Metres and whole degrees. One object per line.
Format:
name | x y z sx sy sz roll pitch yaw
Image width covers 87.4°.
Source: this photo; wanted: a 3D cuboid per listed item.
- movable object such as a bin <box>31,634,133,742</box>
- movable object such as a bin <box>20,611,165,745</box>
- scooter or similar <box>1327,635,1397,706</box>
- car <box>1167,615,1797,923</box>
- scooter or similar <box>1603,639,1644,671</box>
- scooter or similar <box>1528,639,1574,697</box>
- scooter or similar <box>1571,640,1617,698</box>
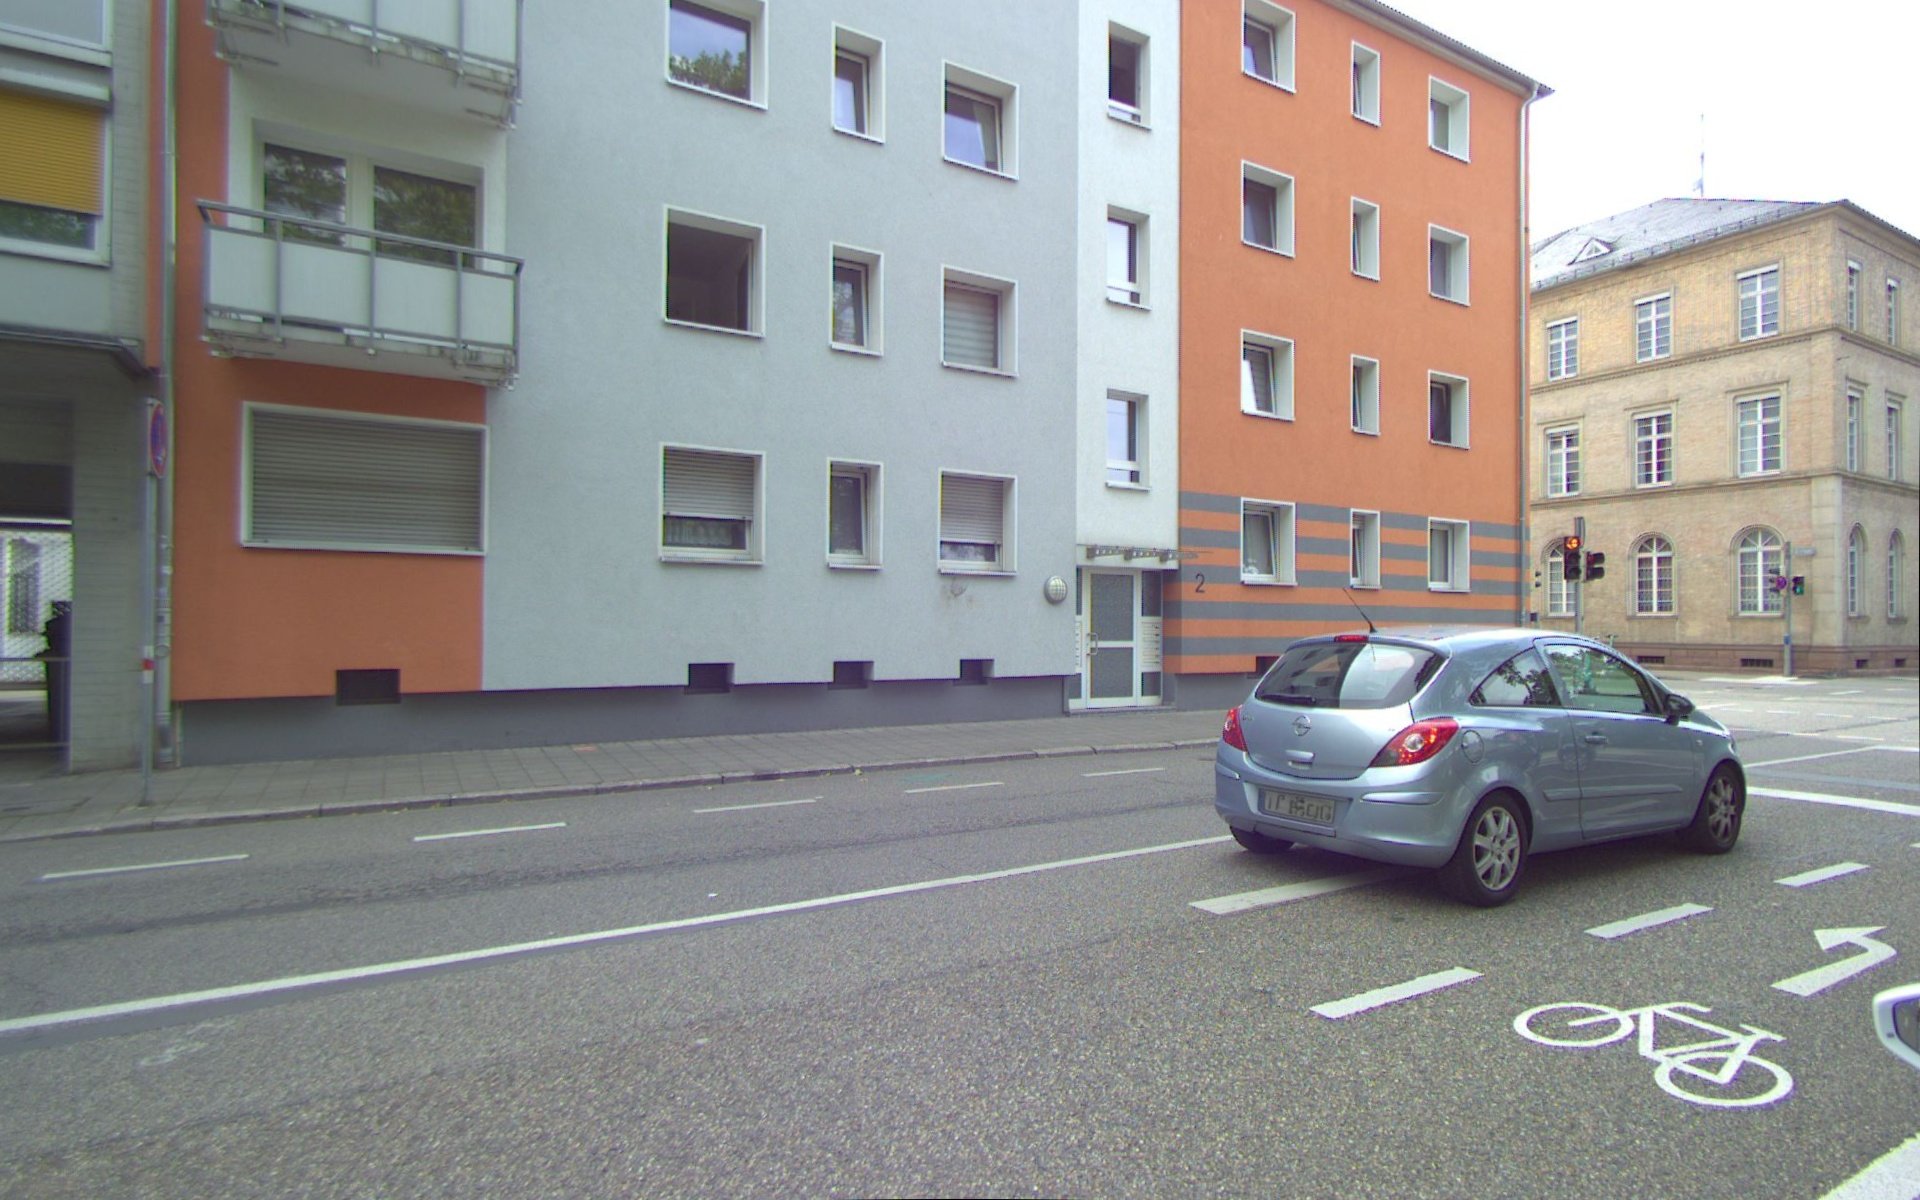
movable object such as a bin | -9.678 0.948 11.098 0.701 1.140 0.639 1 -1 -29
movable object such as a bin | -10.211 0.879 11.886 1.040 1.483 1.185 1 -1 -29
scooter or similar | 7.043 1.235 17.581 1.373 1.199 0.376 3 -2 -30
car | 3.513 0.864 6.554 4.205 1.439 1.704 1 -3 -31
scooter or similar | 22.387 1.850 33.907 0.375 1.063 1.133 2 -2 -29
scooter or similar | 12.260 1.410 20.833 1.130 1.162 0.376 3 -2 -34
scooter or similar | 13.007 1.419 20.590 1.130 1.159 0.376 3 -2 -34
